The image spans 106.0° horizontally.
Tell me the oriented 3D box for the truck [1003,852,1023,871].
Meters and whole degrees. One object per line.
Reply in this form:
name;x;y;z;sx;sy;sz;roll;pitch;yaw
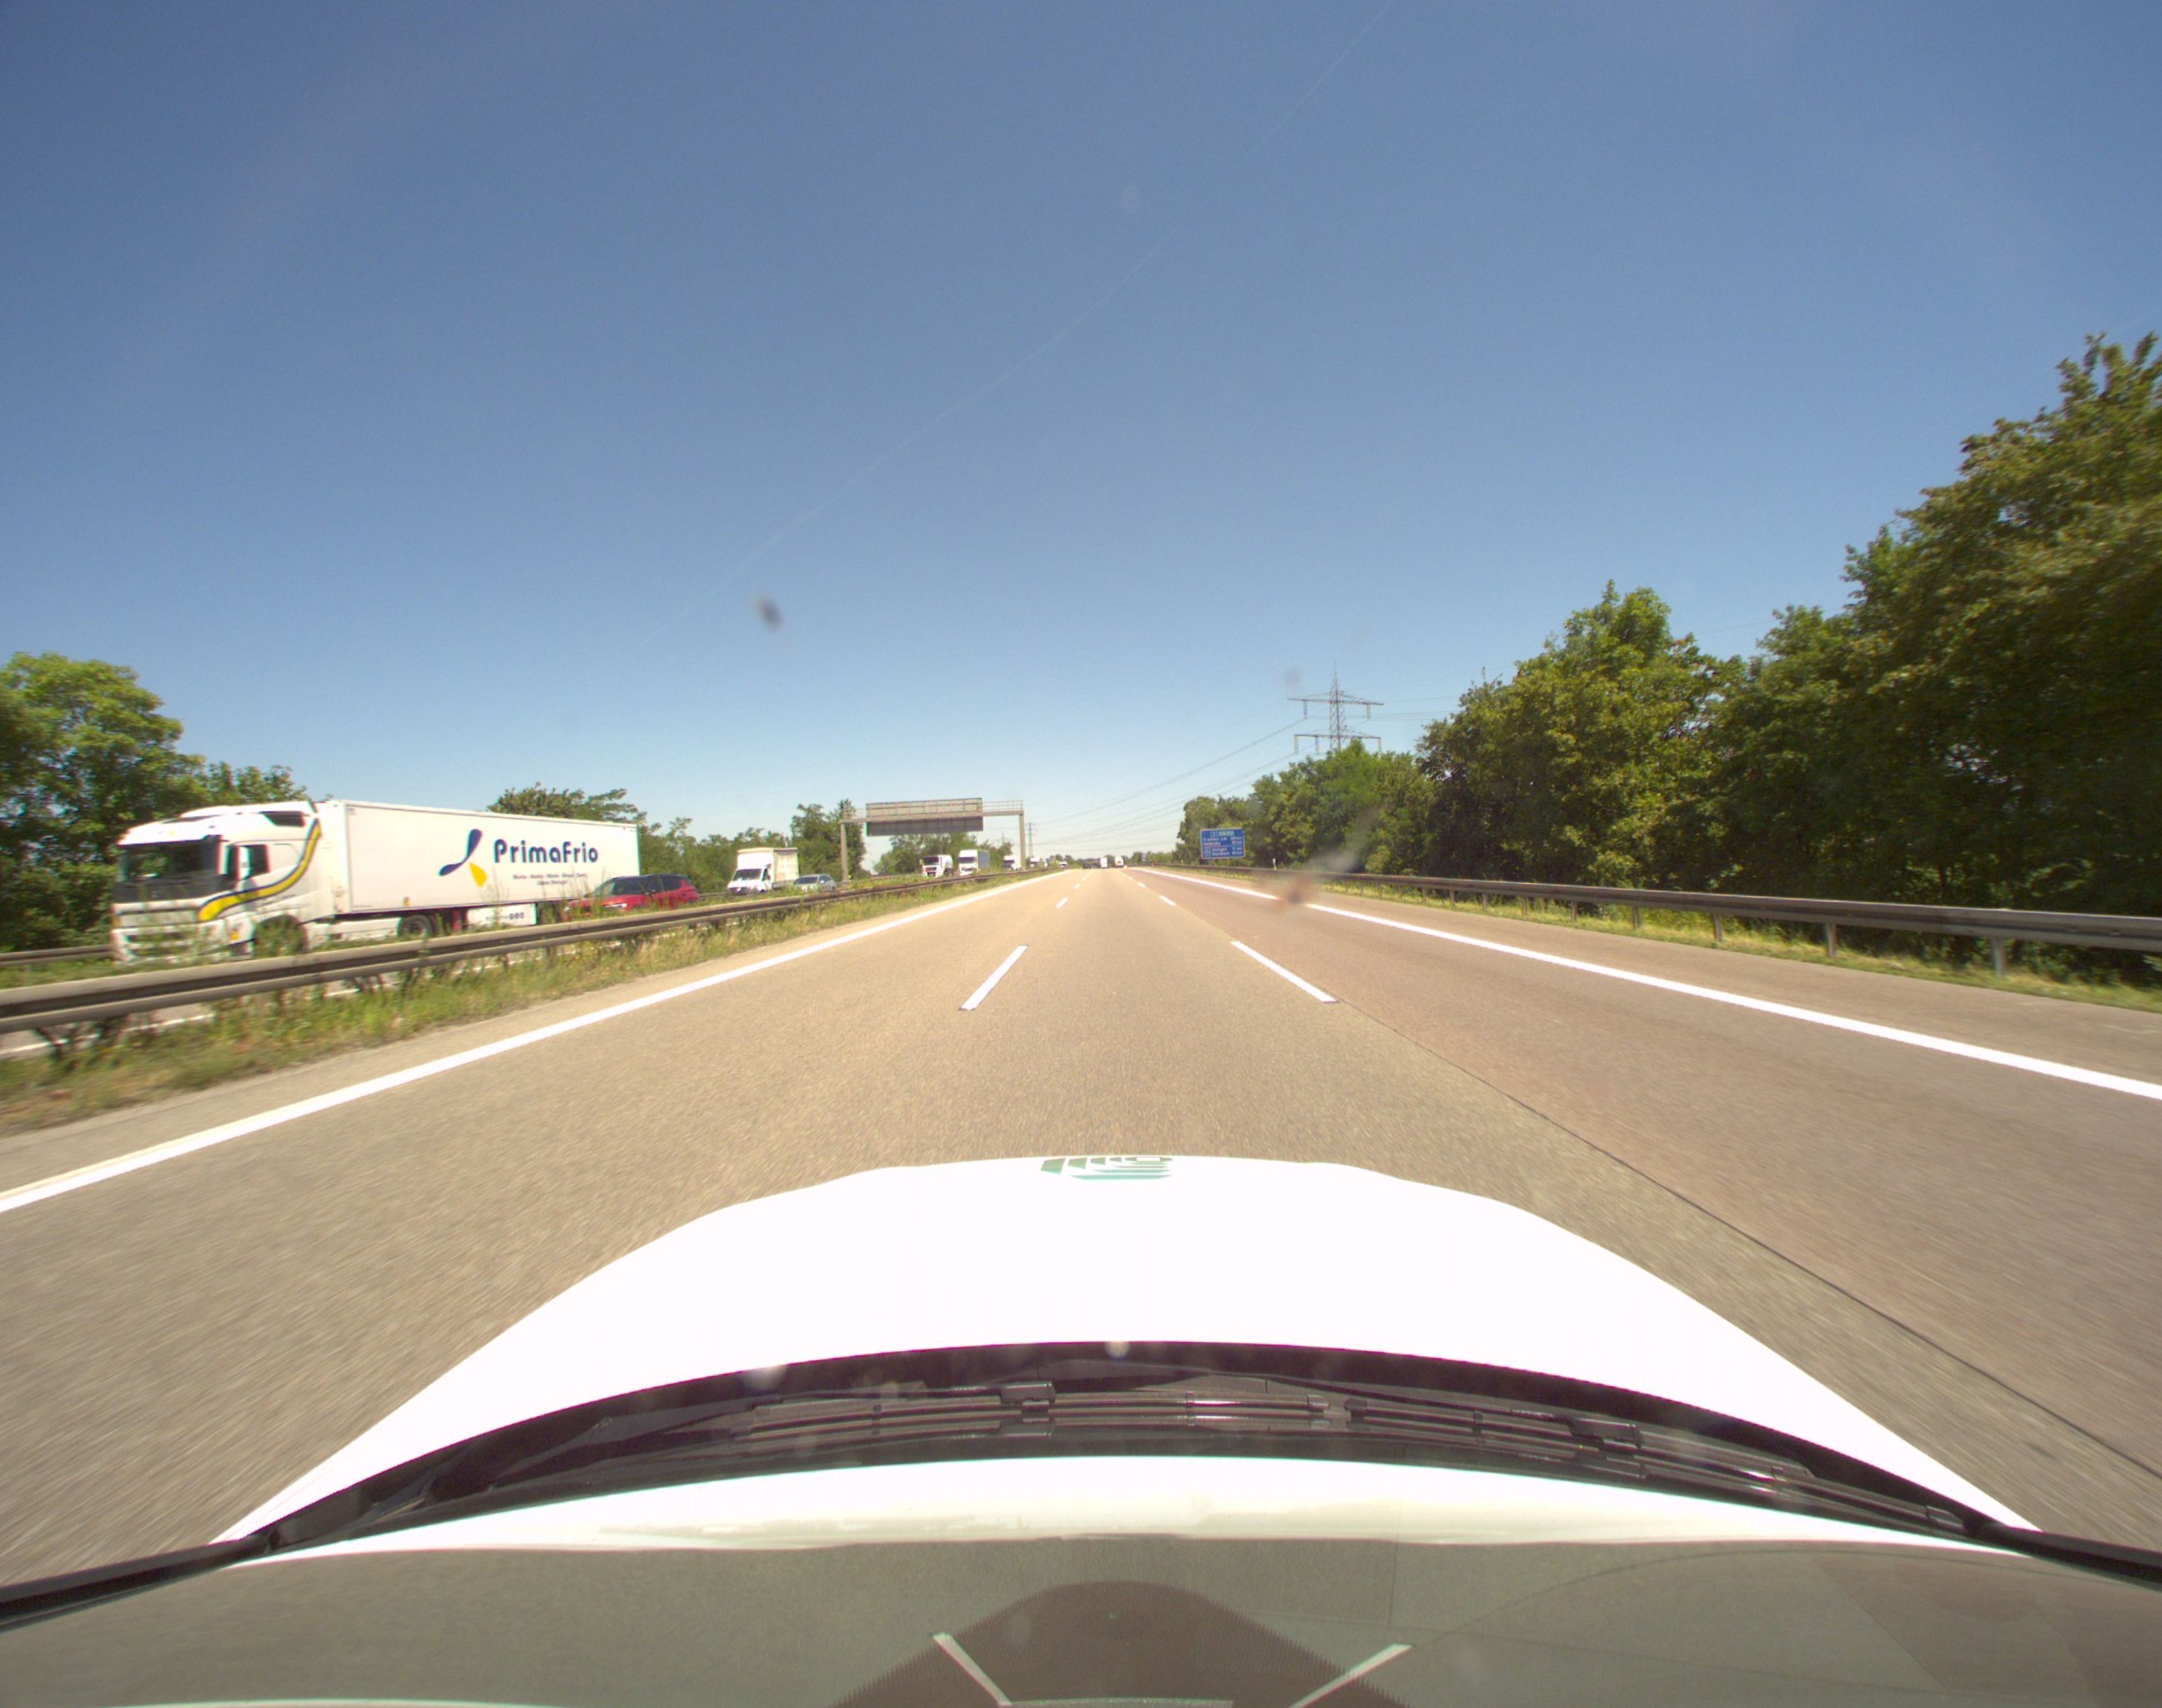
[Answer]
truck;-15.997;1.838;193.132;2.951;4.091;17.029;-2;-1;1

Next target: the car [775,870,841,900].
car;-15.693;1.738;47.058;1.986;1.484;4.946;-2;0;1

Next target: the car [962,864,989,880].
car;-10.424;1.752;80.931;1.986;1.510;4.243;-2;-1;1

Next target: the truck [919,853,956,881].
truck;-18.058;1.611;102.862;2.702;3.208;8.927;-2;-1;1

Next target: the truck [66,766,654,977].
truck;-20.413;0.426;26.539;3.204;4.377;17.196;-5;0;1

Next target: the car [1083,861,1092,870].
car;1.483;2.708;186.123;1.784;2.014;3.889;-1;0;2

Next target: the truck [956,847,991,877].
truck;-17.008;1.286;129.820;2.702;4.389;17.330;-2;-1;2

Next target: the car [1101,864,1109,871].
car;7.052;3.985;239.338;2.167;1.929;4.618;-2;-1;5

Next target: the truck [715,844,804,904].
truck;-20.159;1.218;51.566;2.360;3.465;7.424;-2;0;1

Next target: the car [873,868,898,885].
car;-22.801;2.579;95.045;1.926;1.816;3.998;-3;0;-1

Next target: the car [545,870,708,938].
car;-12.011;1.258;21.878;1.986;1.519;4.001;-2;0;1

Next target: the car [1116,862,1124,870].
car;9.799;3.028;205.049;1.986;2.014;4.001;-2;-1;1
